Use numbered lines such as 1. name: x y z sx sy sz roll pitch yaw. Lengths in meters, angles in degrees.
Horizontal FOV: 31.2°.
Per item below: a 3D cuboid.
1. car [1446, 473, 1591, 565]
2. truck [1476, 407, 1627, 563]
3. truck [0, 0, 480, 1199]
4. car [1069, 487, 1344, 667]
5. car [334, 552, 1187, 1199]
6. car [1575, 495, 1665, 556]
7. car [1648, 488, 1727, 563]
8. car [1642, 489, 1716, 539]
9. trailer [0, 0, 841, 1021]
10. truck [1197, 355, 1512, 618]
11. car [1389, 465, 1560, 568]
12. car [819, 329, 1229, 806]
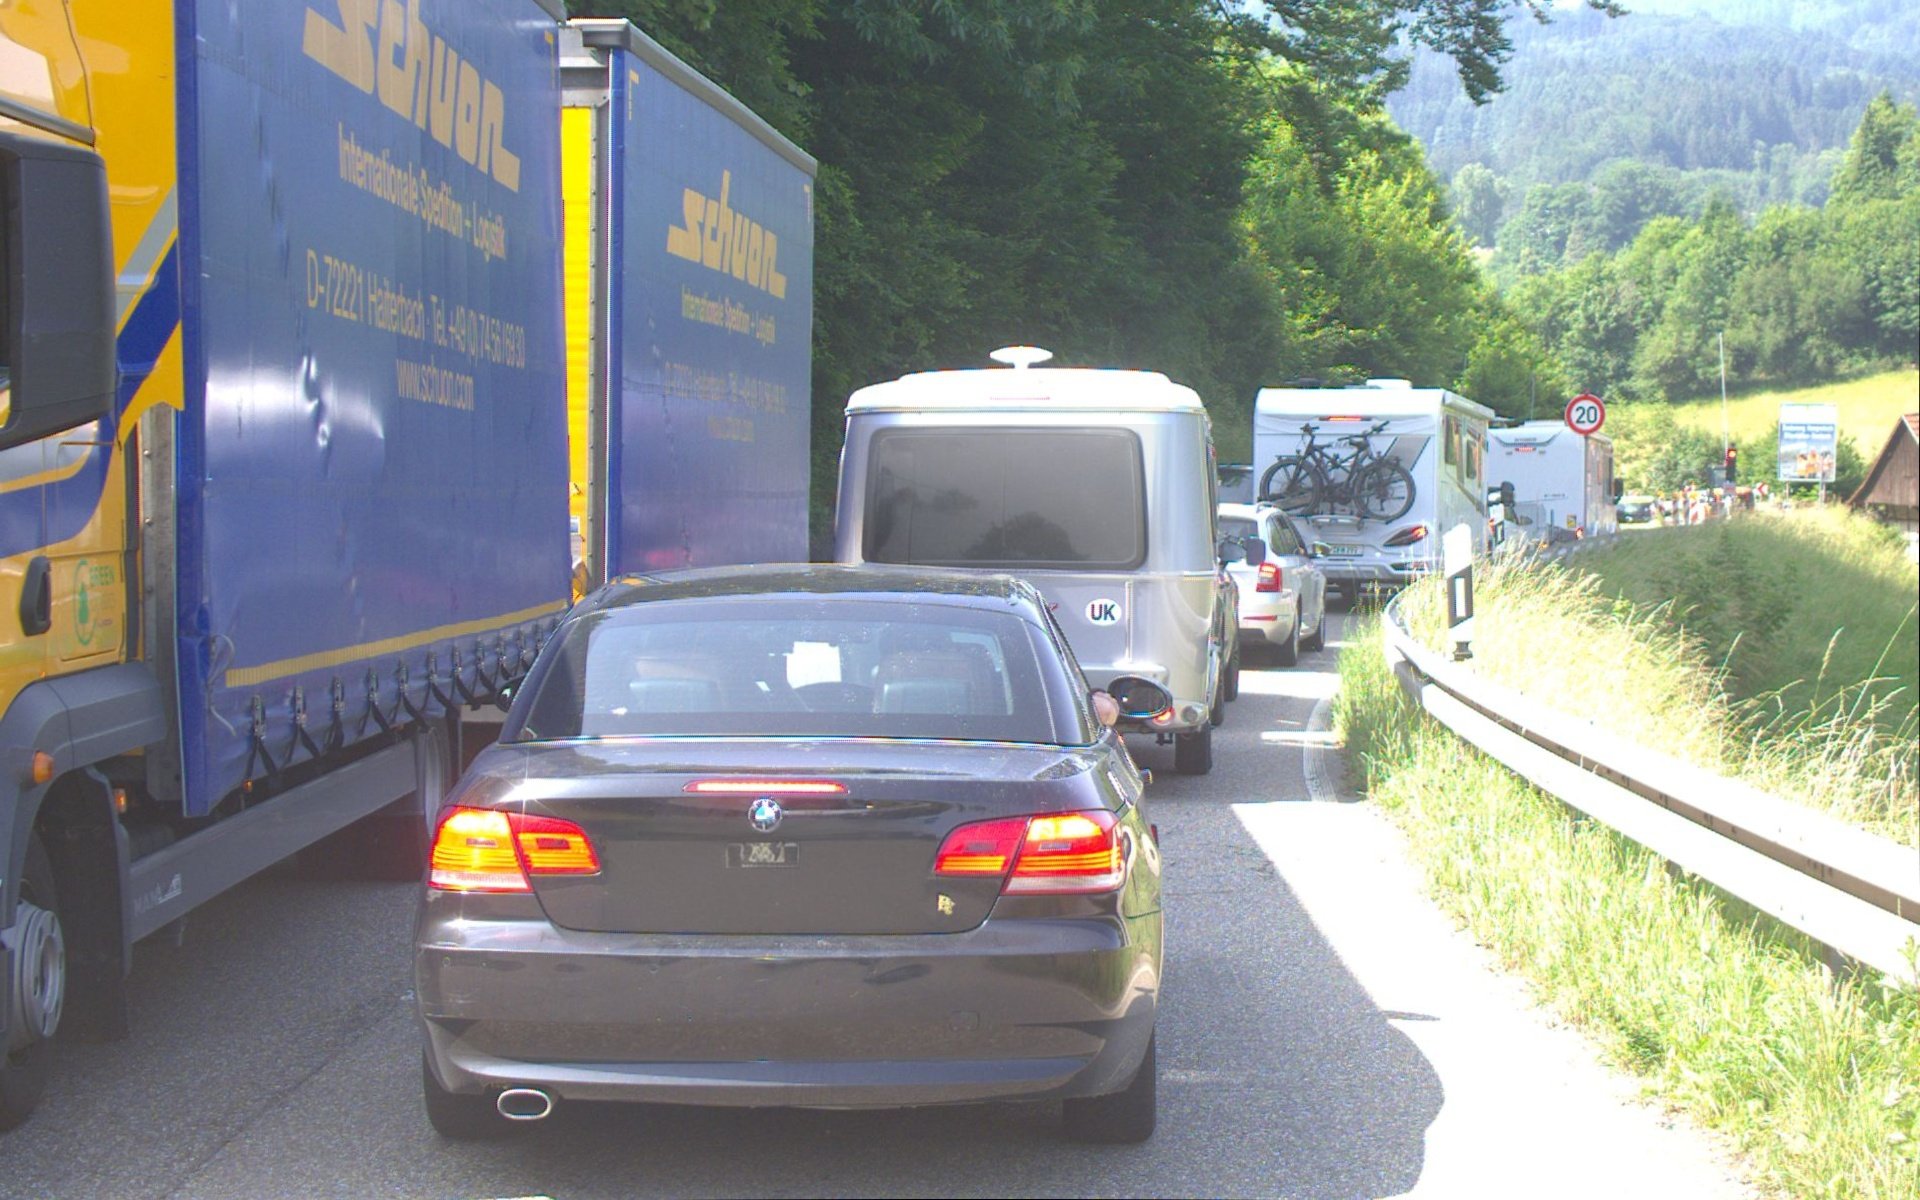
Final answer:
1. car: 9.643 -1.417 59.168 1.789 1.459 3.997 3 3 18
2. truck: 11.325 -2.131 65.476 2.239 2.794 6.228 1 1 15
3. truck: -3.602 -0.968 10.216 3.188 4.381 6.572 1 3 2
4. car: 2.354 -0.260 31.805 1.994 1.479 3.998 3 2 11
5. car: -0.342 0.581 9.044 1.771 1.331 3.767 1 2 2
6. car: 16.872 -1.892 87.777 1.908 1.481 3.997 1 1 16
7. car: 20.551 -2.085 97.046 1.995 1.919 3.998 4 1 13
8. car: 23.956 -2.867 114.492 1.995 1.570 3.997 1 1 17
9. trailer: -3.061 -1.283 17.882 3.260 4.402 15.315 1 2 4
10. truck: 5.181 -1.477 44.003 2.793 2.987 6.863 3 3 16
11. car: 8.066 -1.333 53.627 1.995 1.459 3.997 3 3 17
12. car: 0.505 -0.253 19.546 1.994 2.345 4.913 1 2 5
